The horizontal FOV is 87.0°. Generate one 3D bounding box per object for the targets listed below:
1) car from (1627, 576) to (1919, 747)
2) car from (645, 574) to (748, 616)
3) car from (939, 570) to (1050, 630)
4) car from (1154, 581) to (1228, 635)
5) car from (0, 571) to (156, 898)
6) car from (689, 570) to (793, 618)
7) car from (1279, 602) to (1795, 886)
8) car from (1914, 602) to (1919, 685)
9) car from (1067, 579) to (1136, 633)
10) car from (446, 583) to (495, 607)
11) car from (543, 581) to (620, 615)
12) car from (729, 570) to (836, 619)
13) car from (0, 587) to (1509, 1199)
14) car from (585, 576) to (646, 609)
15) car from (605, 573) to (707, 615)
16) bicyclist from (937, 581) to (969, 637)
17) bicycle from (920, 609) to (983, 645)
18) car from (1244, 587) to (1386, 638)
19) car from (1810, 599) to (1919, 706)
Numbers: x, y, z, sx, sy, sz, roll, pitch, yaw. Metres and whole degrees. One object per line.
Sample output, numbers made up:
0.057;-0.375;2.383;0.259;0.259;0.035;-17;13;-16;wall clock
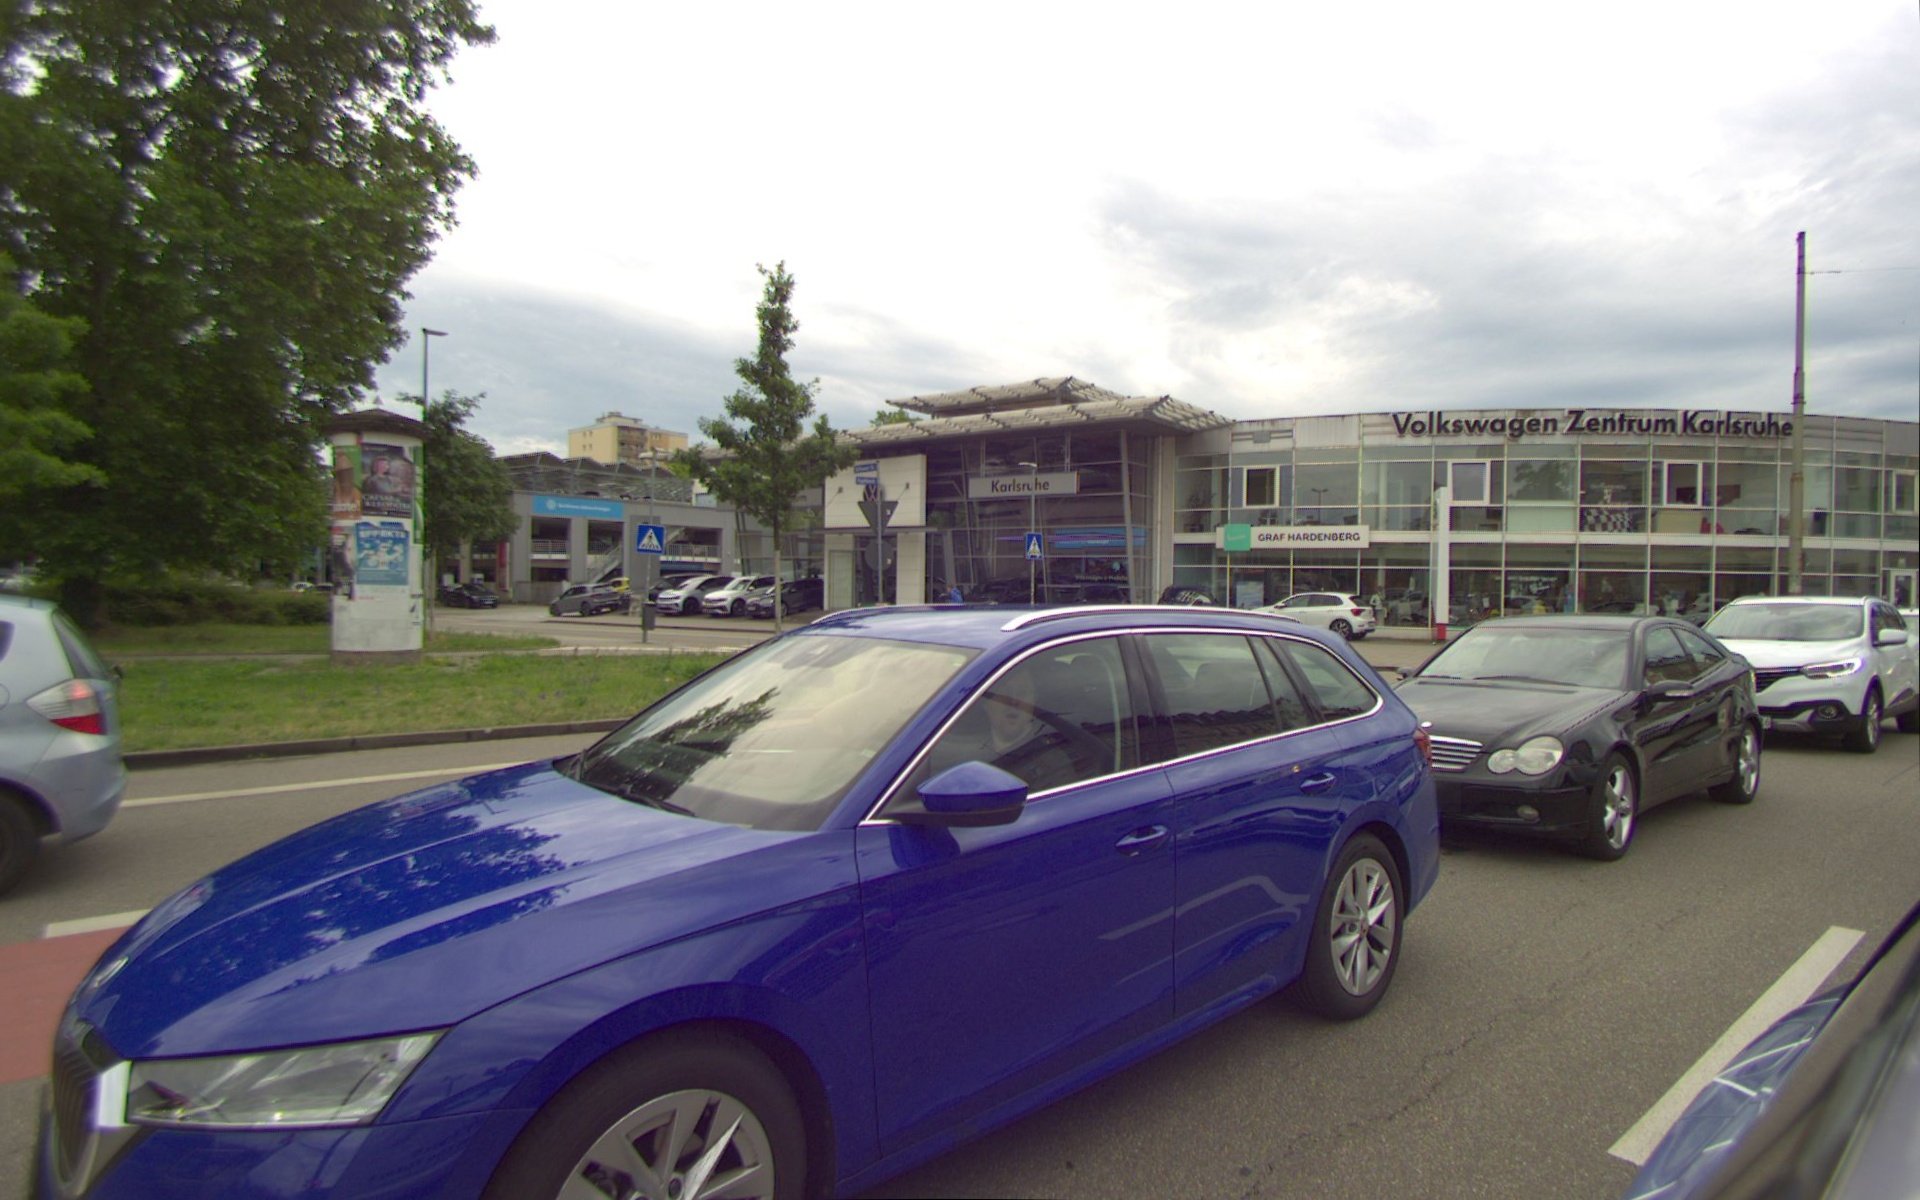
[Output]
9.422;0.546;11.401;4.069;1.578;1.983;0;1;-38;car
-11.956;-0.275;46.118;1.946;1.483;4.178;2;6;37;car
1.303;-0.072;35.836;1.942;1.662;4.627;1;5;31;car
7.350;0.203;32.570;1.760;1.580;4.029;1;1;5;car
-5.989;0.623;4.358;3.867;1.502;1.707;0;0;-43;car
-9.591;-0.323;44.516;1.946;1.615;4.179;2;8;37;car
4.269;0.730;7.179;4.343;1.388;1.769;0;0;-40;car
18.992;0.796;18.325;3.899;1.454;1.909;0;1;-38;car
4.714;0.143;33.193;1.927;1.544;4.216;1;3;12;car
-28.774;-0.310;59.455;1.928;1.358;3.678;-1;2;-37;car
-18.502;-0.132;49.428;4.128;1.531;1.633;2;1;38;car
-7.422;-0.292;42.709;1.946;1.472;4.180;2;9;37;car
-0.014;0.697;3.420;4.674;1.454;1.768;0;0;-41;car
-17.533;-0.419;51.537;3.106;1.530;1.422;2;5;38;car
-14.237;-0.327;47.601;1.946;1.529;4.179;2;7;37;car
-0.201;0.236;28.114;0.691;1.515;0.548;1;1;36;bicyclist
-0.245;0.732;28.125;1.779;0.923;0.555;2;1;36;bicycle
11.089;0.344;31.732;3.889;1.459;1.708;2;1;40;car
14.712;0.731;15.429;3.899;1.454;1.909;0;1;-38;car
